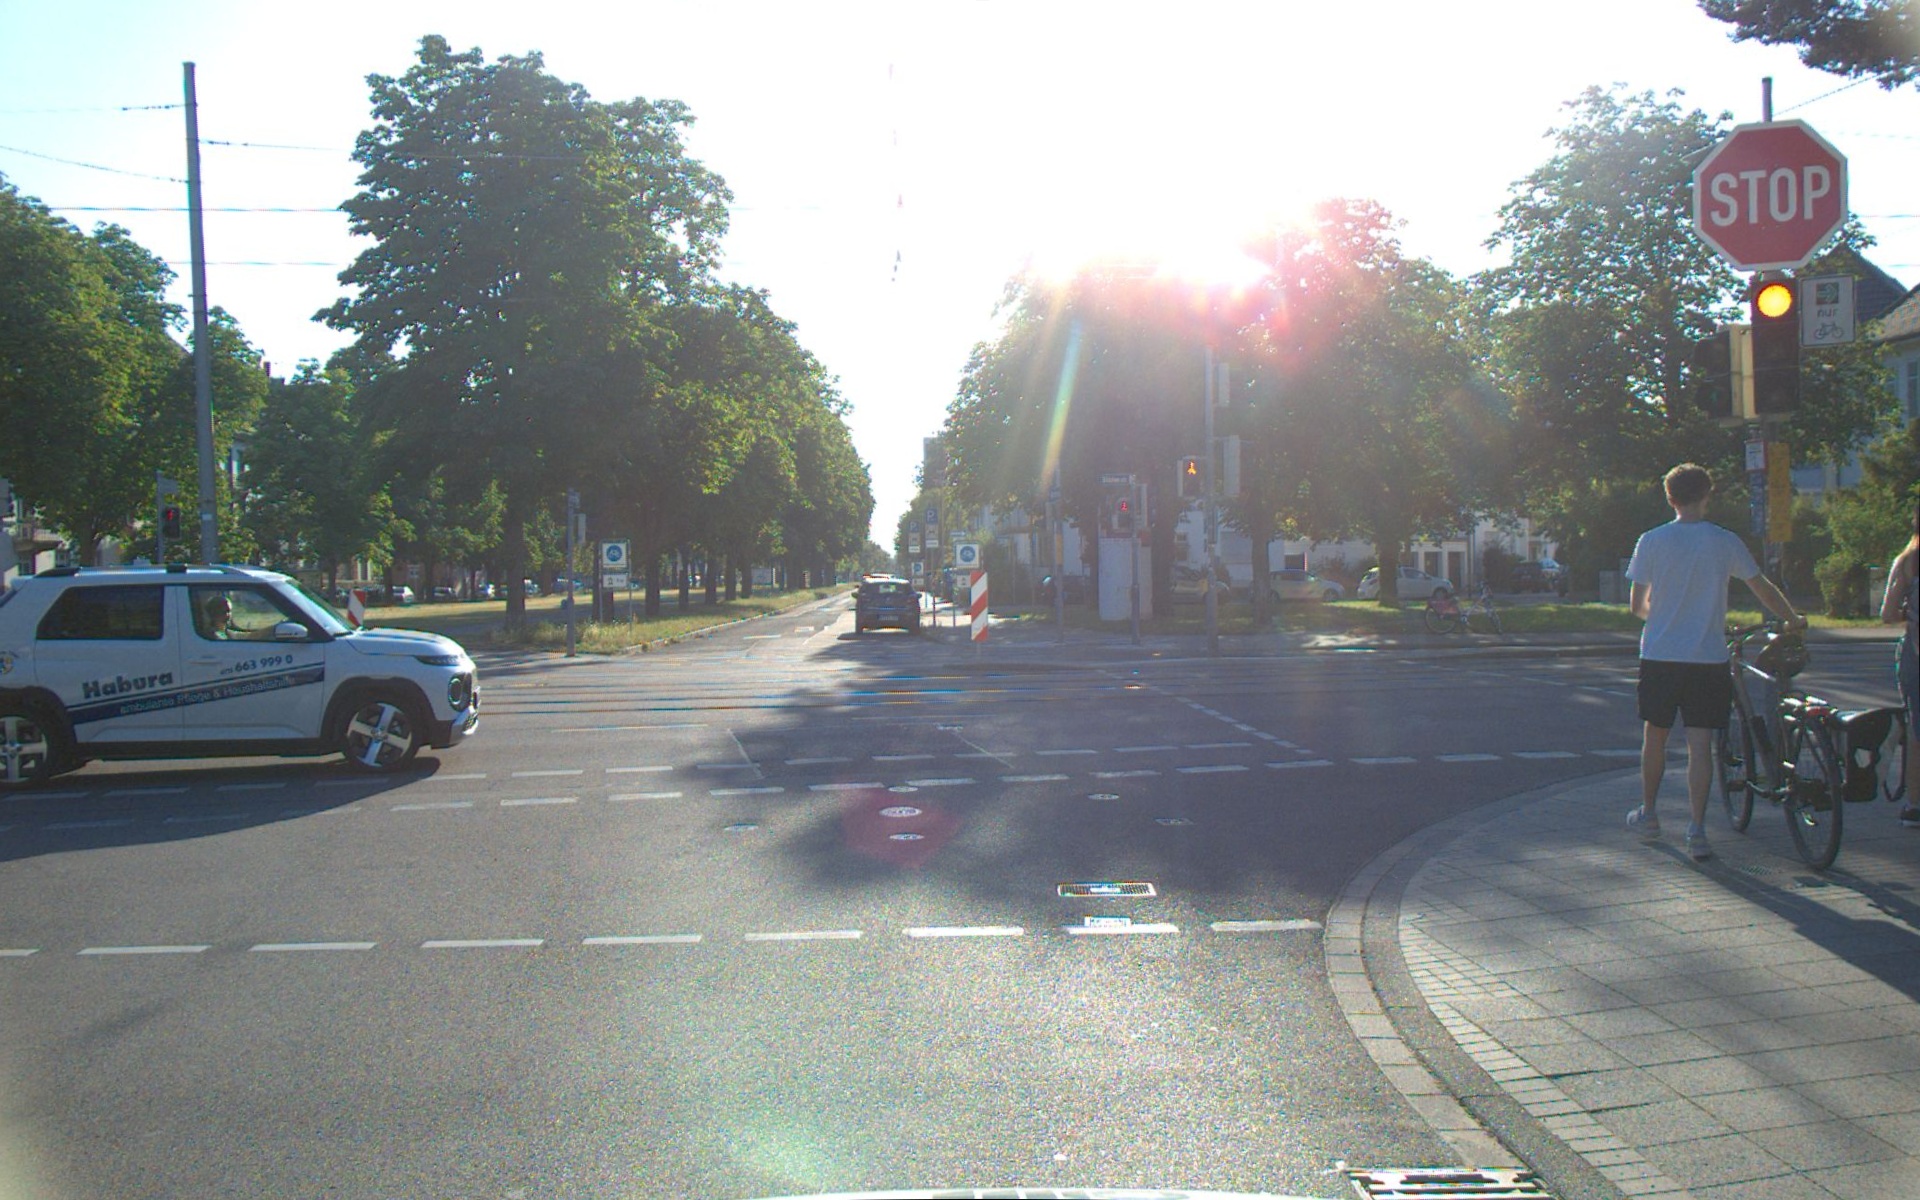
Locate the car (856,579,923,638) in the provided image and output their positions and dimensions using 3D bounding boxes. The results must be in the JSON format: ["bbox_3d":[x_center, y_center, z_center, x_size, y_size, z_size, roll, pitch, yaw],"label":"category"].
[{"bbox_3d":[-1.842,0.189,43.876,1.607,1.476,3.307,-1,1,0],"label":"car"}]

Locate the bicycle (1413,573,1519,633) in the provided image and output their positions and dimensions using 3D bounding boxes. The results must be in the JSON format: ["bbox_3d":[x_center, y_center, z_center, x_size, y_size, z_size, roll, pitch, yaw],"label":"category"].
[{"bbox_3d":[10.093,0.063,33.031,1.914,1.152,0.620,-1,0,0],"label":"bicycle"}]

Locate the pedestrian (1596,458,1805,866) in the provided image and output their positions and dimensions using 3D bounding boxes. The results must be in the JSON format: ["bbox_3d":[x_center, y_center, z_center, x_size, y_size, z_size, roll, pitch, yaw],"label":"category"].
[{"bbox_3d":[3.681,0.288,8.294,0.656,1.897,0.883,-4,1,11],"label":"pedestrian"}]

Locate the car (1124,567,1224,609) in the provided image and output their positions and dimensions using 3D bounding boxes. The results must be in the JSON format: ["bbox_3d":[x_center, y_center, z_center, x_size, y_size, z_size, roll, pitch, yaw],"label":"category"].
[{"bbox_3d":[8.458,-0.474,65.472,3.704,1.552,1.743,-1,2,-3],"label":"car"}]

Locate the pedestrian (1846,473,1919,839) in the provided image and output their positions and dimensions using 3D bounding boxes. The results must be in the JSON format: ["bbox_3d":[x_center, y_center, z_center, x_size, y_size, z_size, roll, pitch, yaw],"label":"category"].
[{"bbox_3d":[4.834,0.241,8.108,0.655,1.737,0.623,-4,1,17],"label":"pedestrian"}]

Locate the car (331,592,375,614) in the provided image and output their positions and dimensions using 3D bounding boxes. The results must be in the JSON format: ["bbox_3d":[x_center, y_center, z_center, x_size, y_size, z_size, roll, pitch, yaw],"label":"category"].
[{"bbox_3d":[-42.336,0.211,115.445,1.703,1.452,3.791,0,1,-2],"label":"car"}]

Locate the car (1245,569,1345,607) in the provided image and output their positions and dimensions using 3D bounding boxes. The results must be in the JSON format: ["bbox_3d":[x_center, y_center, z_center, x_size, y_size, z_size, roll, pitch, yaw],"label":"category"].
[{"bbox_3d":[13.262,-0.472,65.491,3.593,1.452,1.529,-1,1,-7],"label":"car"}]

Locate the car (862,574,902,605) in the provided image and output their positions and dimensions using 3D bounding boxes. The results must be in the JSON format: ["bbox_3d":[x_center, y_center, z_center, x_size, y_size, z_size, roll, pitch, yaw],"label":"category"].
[{"bbox_3d":[-3.634,-0.514,77.742,1.808,1.418,3.828,0,1,-2],"label":"car"}]

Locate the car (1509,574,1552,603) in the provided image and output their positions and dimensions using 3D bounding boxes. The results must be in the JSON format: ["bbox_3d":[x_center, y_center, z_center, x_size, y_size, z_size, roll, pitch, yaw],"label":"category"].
[{"bbox_3d":[29.157,-0.611,84.523,1.631,1.442,3.539,-1,1,27],"label":"car"}]

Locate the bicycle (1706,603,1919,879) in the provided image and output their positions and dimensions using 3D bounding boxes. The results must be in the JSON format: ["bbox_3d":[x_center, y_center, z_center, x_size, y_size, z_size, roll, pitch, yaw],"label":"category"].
[{"bbox_3d":[4.160,0.615,8.026,0.476,1.116,1.792,-3,1,9],"label":"bicycle"}]

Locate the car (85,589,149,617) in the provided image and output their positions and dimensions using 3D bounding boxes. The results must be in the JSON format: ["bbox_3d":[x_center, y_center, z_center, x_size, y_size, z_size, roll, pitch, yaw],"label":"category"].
[{"bbox_3d":[-46.529,0.147,91.366,1.703,1.452,3.791,-1,1,-2],"label":"car"}]

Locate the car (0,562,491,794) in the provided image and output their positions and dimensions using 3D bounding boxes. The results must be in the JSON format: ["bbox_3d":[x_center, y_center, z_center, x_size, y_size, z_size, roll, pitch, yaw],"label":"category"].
[{"bbox_3d":[-5.751,0.546,13.079,3.798,1.578,1.607,-2,2,-14],"label":"car"}]

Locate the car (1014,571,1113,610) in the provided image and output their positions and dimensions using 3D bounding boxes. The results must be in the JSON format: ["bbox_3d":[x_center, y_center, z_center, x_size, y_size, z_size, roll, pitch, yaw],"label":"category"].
[{"bbox_3d":[4.044,-0.388,65.078,3.704,1.452,1.743,-1,2,-3],"label":"car"}]

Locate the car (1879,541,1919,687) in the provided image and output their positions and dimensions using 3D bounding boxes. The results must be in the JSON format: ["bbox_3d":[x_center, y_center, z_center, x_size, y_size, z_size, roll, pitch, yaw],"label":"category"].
[{"bbox_3d":[11.831,0.096,17.505,3.534,1.524,1.607,-2,1,-14],"label":"car"}]

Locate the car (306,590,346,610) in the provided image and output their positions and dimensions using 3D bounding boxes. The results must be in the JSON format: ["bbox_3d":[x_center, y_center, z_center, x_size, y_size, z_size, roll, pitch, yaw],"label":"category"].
[{"bbox_3d":[-48.099,-0.045,125.552,1.703,1.452,3.791,0,1,-2],"label":"car"}]

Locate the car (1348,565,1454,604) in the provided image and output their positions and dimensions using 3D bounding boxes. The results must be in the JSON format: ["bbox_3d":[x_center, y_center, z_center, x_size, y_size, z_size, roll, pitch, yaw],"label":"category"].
[{"bbox_3d":[17.669,-0.622,66.332,3.772,1.452,1.595,-1,1,-7],"label":"car"}]
